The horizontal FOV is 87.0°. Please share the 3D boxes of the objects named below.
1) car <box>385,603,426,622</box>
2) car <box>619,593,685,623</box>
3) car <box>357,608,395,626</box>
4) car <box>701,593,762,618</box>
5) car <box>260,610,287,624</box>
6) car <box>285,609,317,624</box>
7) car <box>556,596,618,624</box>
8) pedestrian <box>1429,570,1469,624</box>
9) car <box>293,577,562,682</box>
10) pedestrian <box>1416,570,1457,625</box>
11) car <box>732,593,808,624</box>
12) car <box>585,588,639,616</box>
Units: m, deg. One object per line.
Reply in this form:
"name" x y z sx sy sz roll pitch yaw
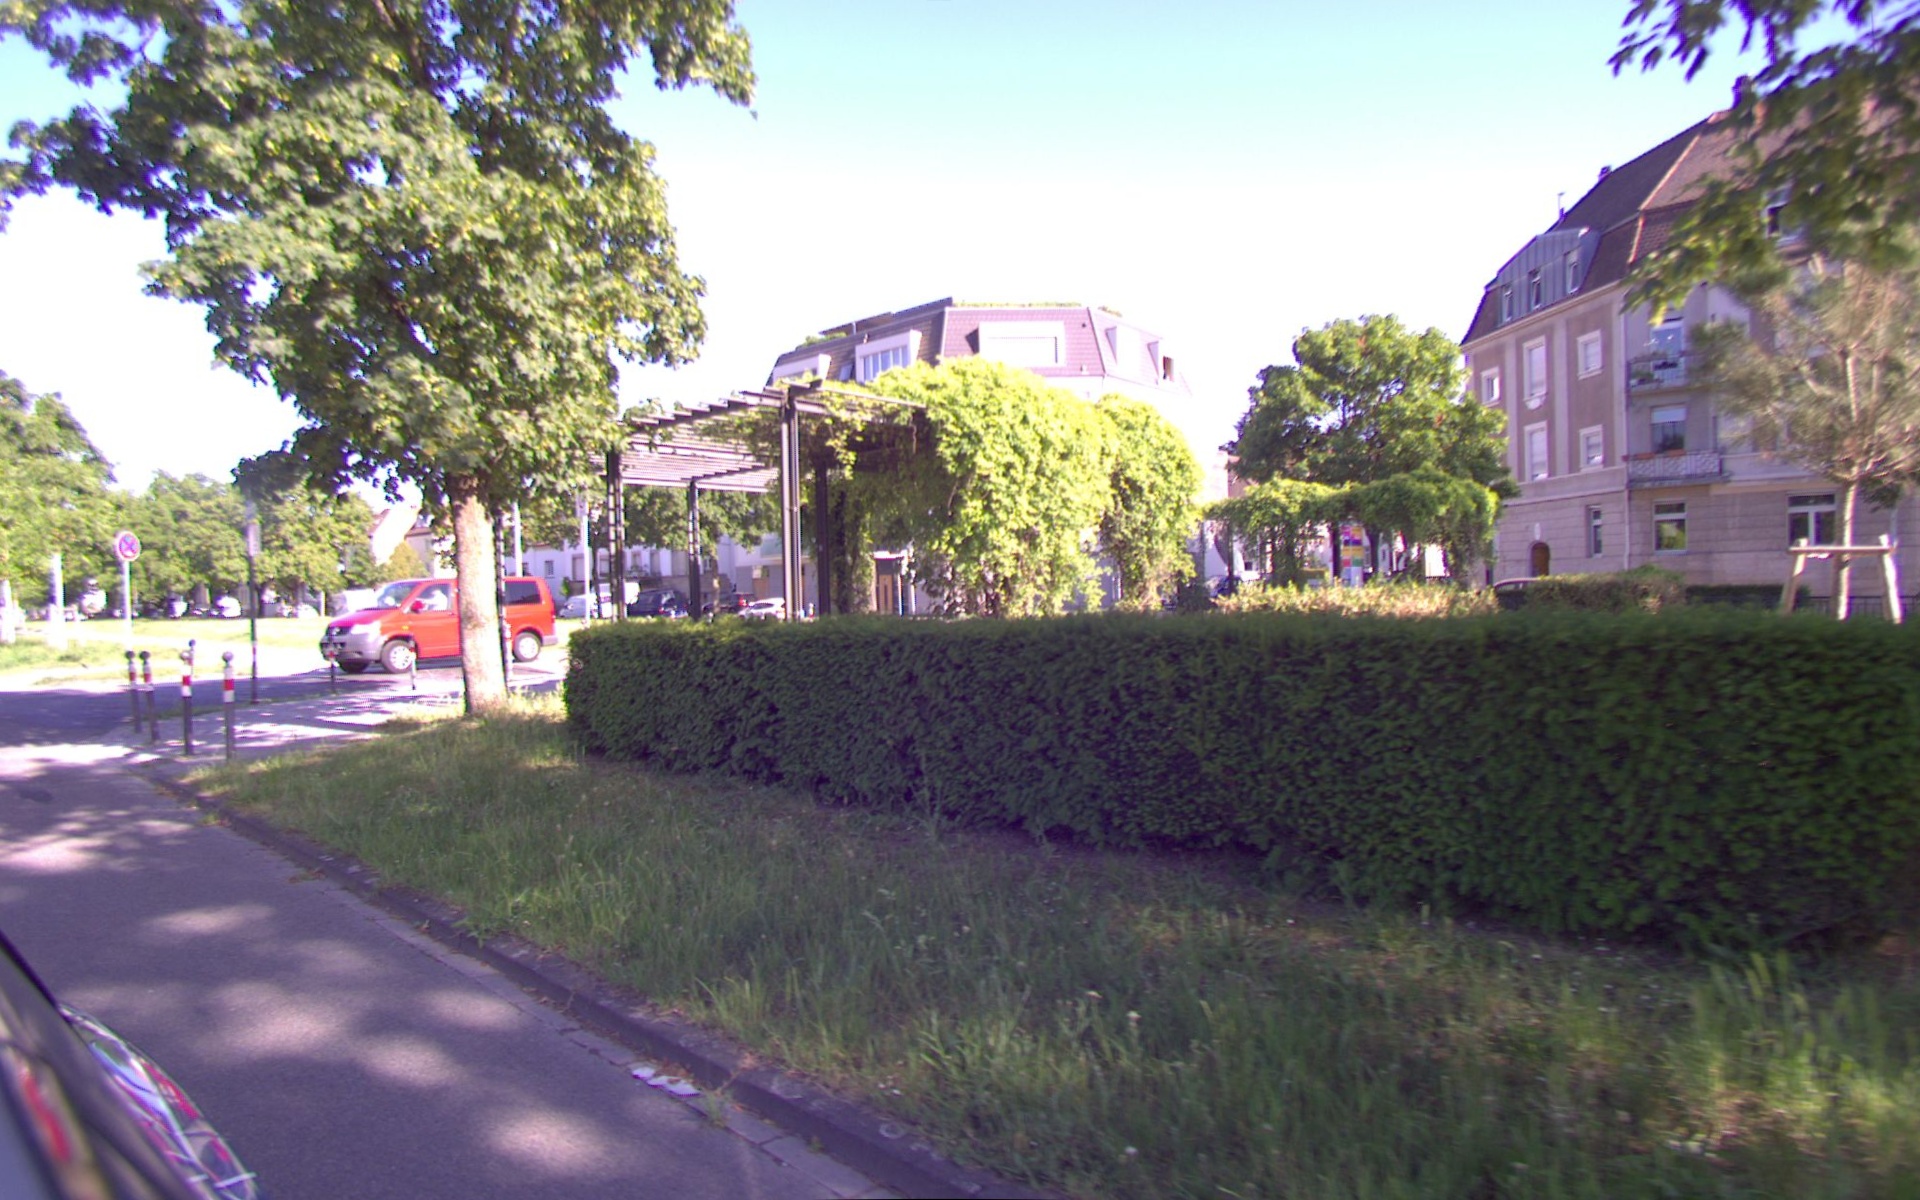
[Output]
"car" -46.477 1.075 84.782 3.998 1.522 1.775 -1 0 41
"car" -18.146 0.470 59.580 4.130 1.706 1.775 -1 0 41
"car" -51.980 1.482 90.029 3.998 1.522 1.775 -1 0 41
"car" -14.594 0.335 64.490 3.998 1.522 1.775 -1 0 41
"car" -85.609 2.110 126.185 4.404 1.625 1.775 -1 0 41
"car" -68.068 1.723 104.567 3.998 1.522 1.775 -1 0 41
"car" -24.037 0.644 65.138 4.407 1.706 2.029 -1 0 44
"pedestrian" 11.649 -0.074 24.099 0.640 1.247 0.651 -2 1 -43
"car" -11.446 0.540 22.125 2.086 2.027 4.792 -1 1 32
"pedestrian" 11.114 -0.051 23.600 0.640 1.247 0.651 -2 1 -43
"car" -9.908 0.452 52.690 3.998 1.522 1.775 -1 0 41
"car" -25.508 0.159 74.198 4.406 2.044 1.915 -1 0 43
